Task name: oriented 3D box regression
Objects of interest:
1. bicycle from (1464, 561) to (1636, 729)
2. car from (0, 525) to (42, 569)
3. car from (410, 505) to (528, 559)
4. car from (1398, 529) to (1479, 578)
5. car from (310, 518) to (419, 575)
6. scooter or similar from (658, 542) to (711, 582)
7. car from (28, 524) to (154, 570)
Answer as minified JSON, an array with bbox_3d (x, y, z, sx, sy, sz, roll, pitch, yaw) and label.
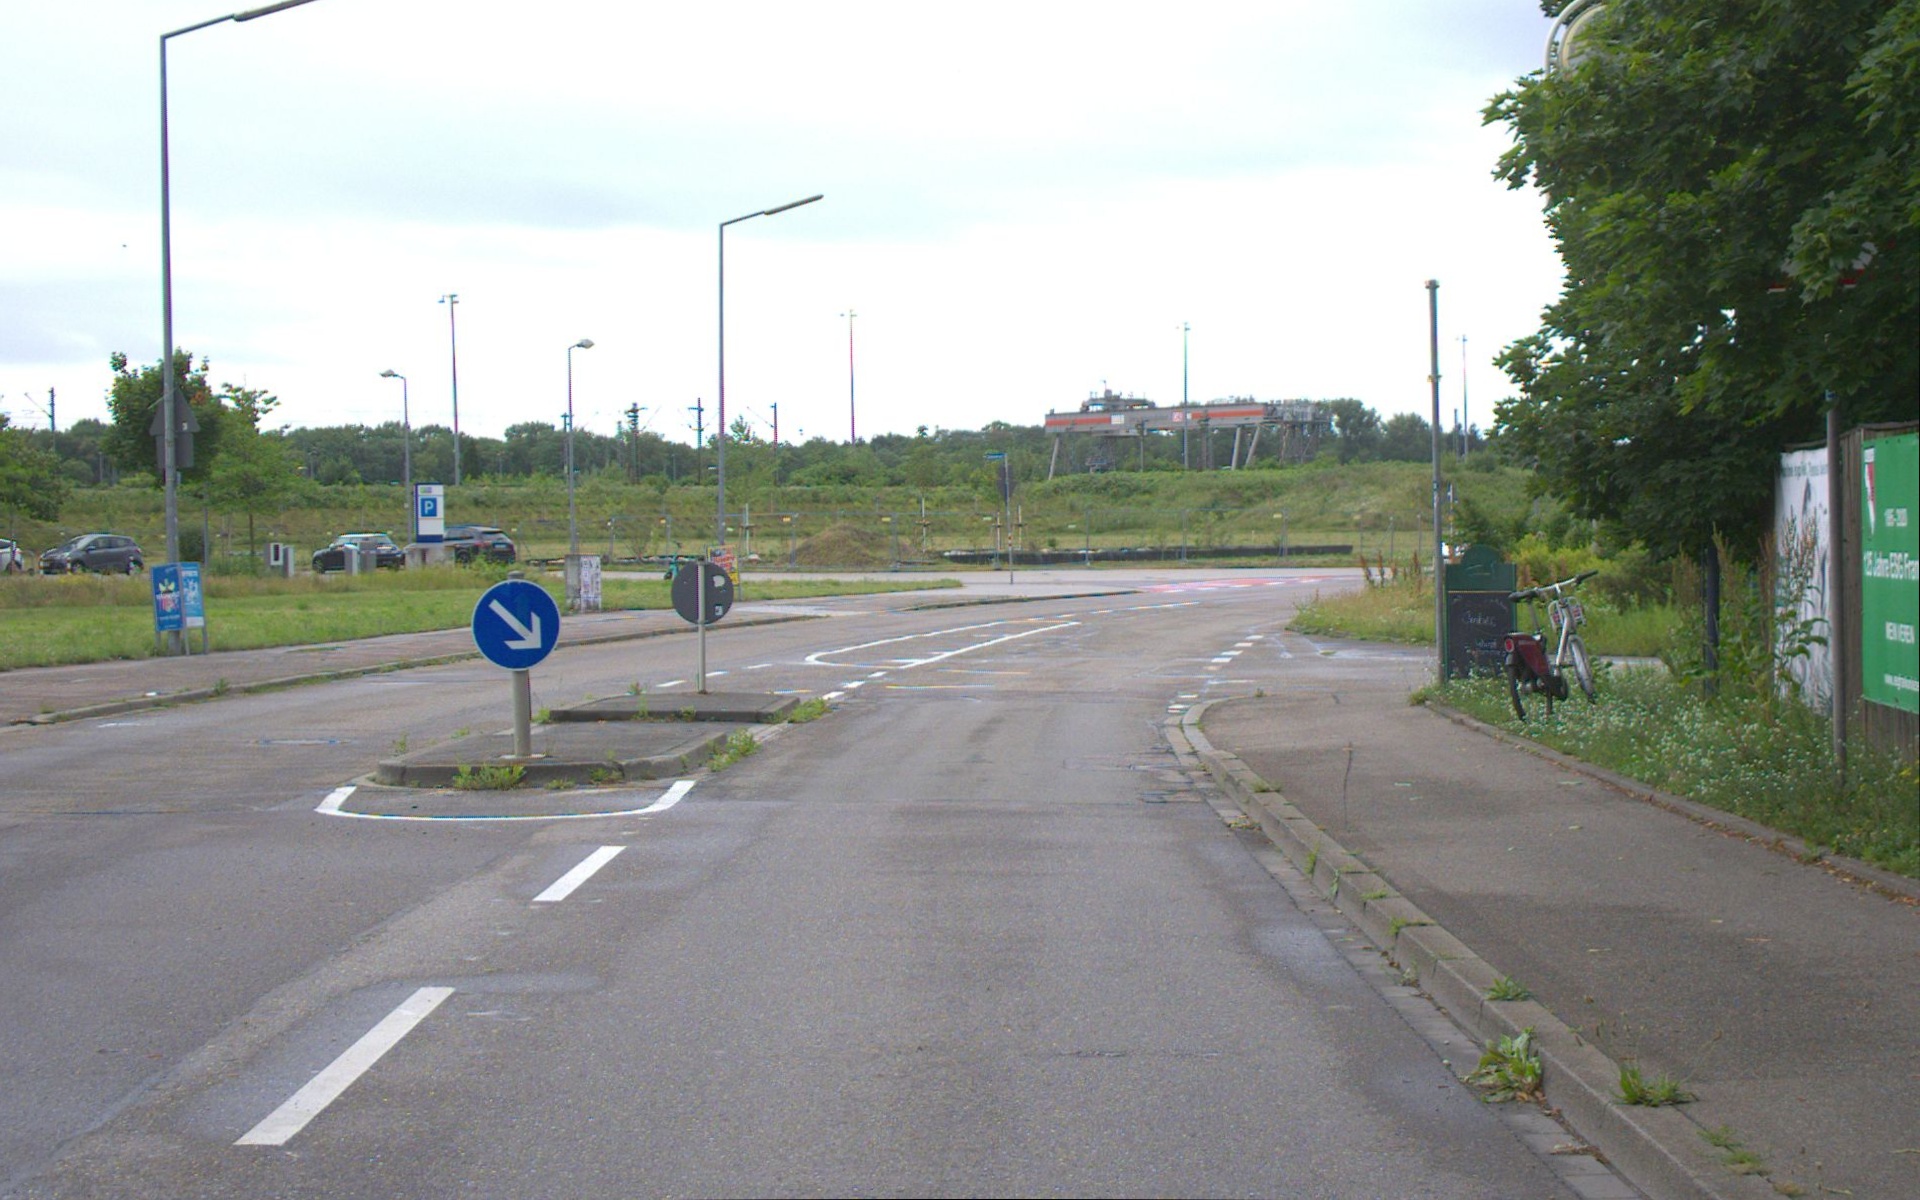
[{"bbox_3d":[4.228,0.300,24.512,0.796,1.107,1.950,-1,1,22],"label":"bicycle"},{"bbox_3d":[-35.496,-1.878,124.367,1.997,1.512,4.146,0,3,32],"label":"car"},{"bbox_3d":[-17.521,-2.425,122.559,3.996,1.816,1.995,1,3,41],"label":"car"},{"bbox_3d":[15.218,-1.503,109.237,1.673,1.456,4.052,1,2,20],"label":"car"},{"bbox_3d":[-21.941,-1.987,126.668,1.995,2.006,3.998,-4,3,-44],"label":"car"},{"bbox_3d":[-8.219,-1.138,102.635,1.463,1.164,0.571,0,2,15],"label":"scooter or similar"},{"bbox_3d":[-30.131,-1.839,119.252,1.697,1.437,3.991,0,3,39],"label":"car"}]
